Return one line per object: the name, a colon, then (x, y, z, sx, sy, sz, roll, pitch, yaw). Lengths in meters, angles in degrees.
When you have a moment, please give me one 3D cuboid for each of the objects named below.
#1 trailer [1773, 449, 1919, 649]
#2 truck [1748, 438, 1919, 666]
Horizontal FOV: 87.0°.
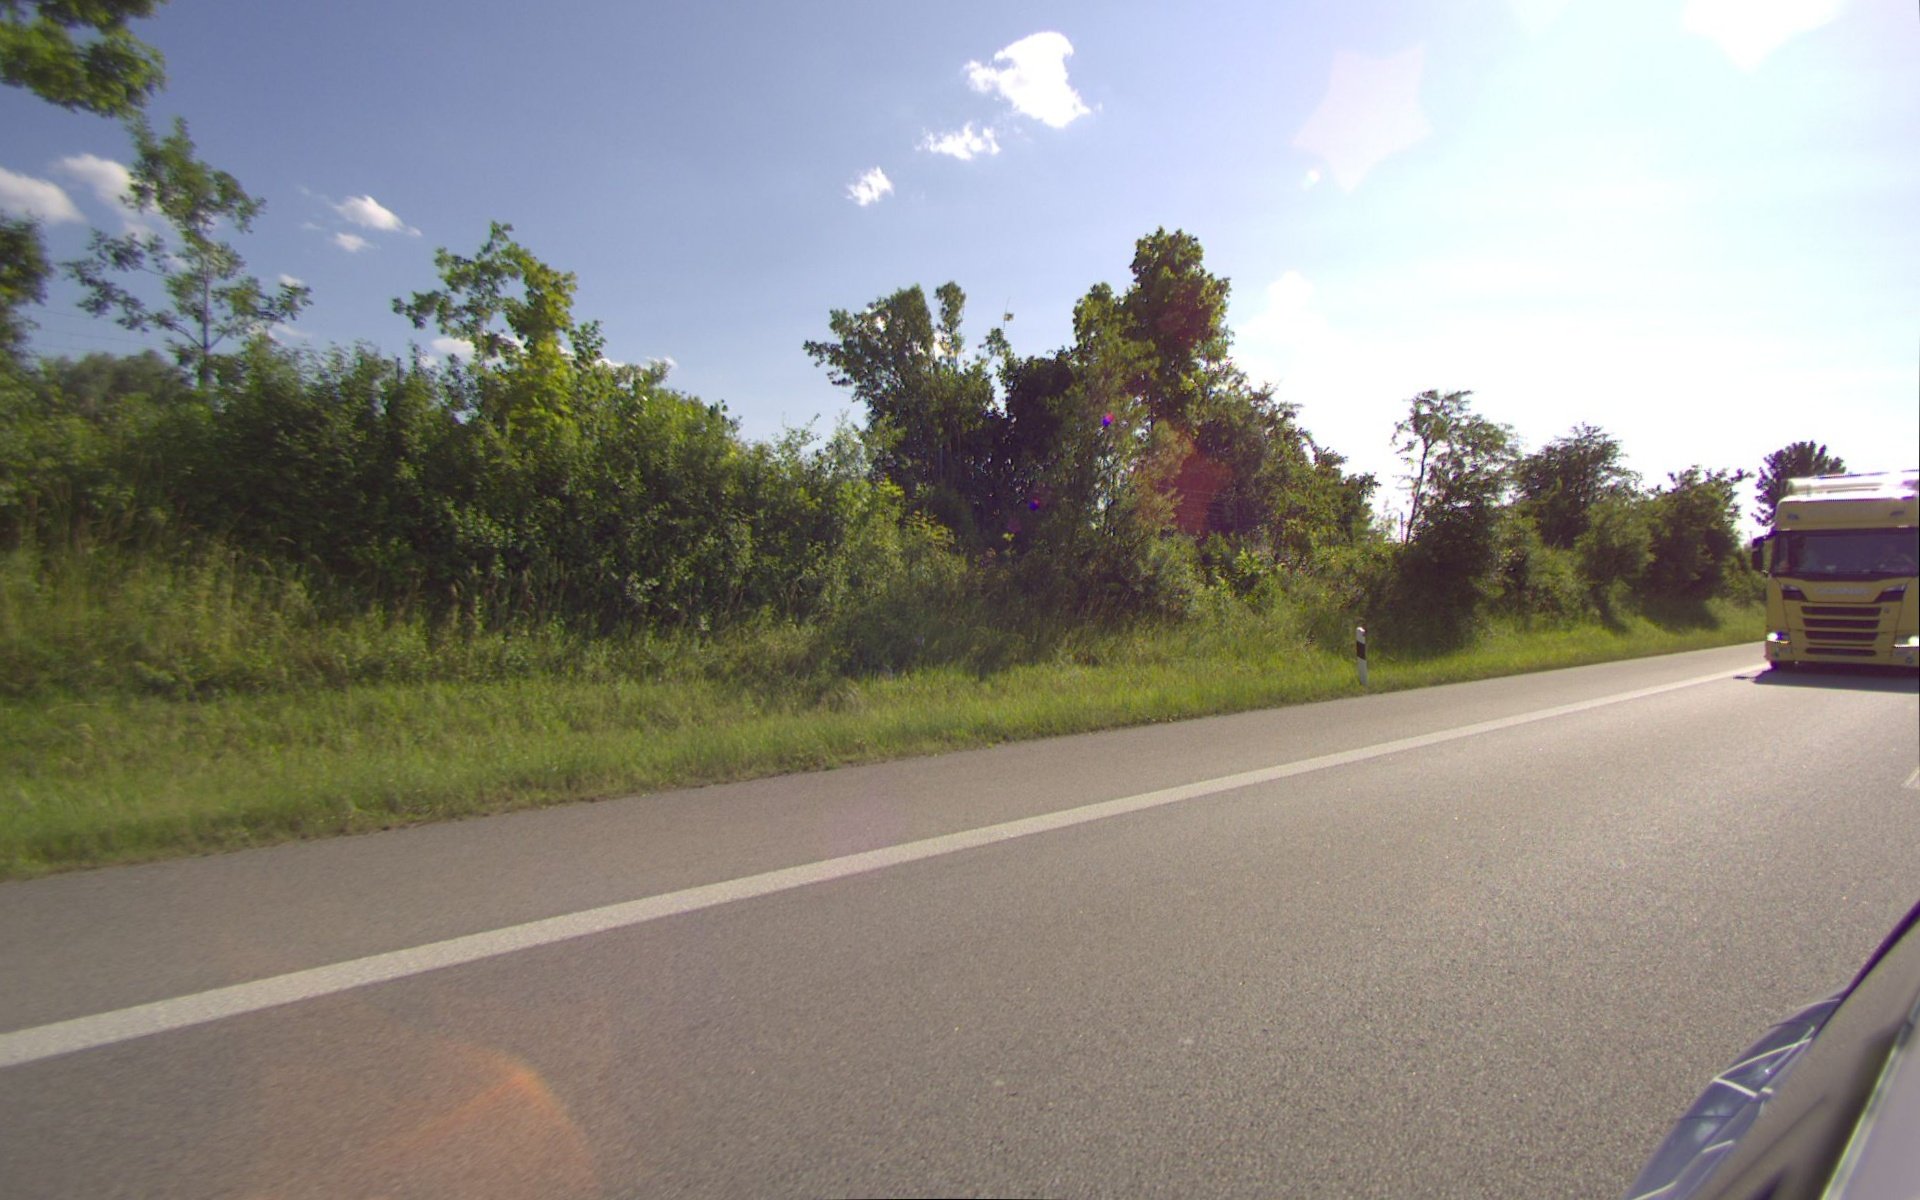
trailer: (24.018, -1.126, 25.816, 12.963, 4.110, 3.188, -1, 0, -43)
truck: (19.210, -0.910, 21.347, 6.282, 4.166, 3.171, -1, 0, -44)
